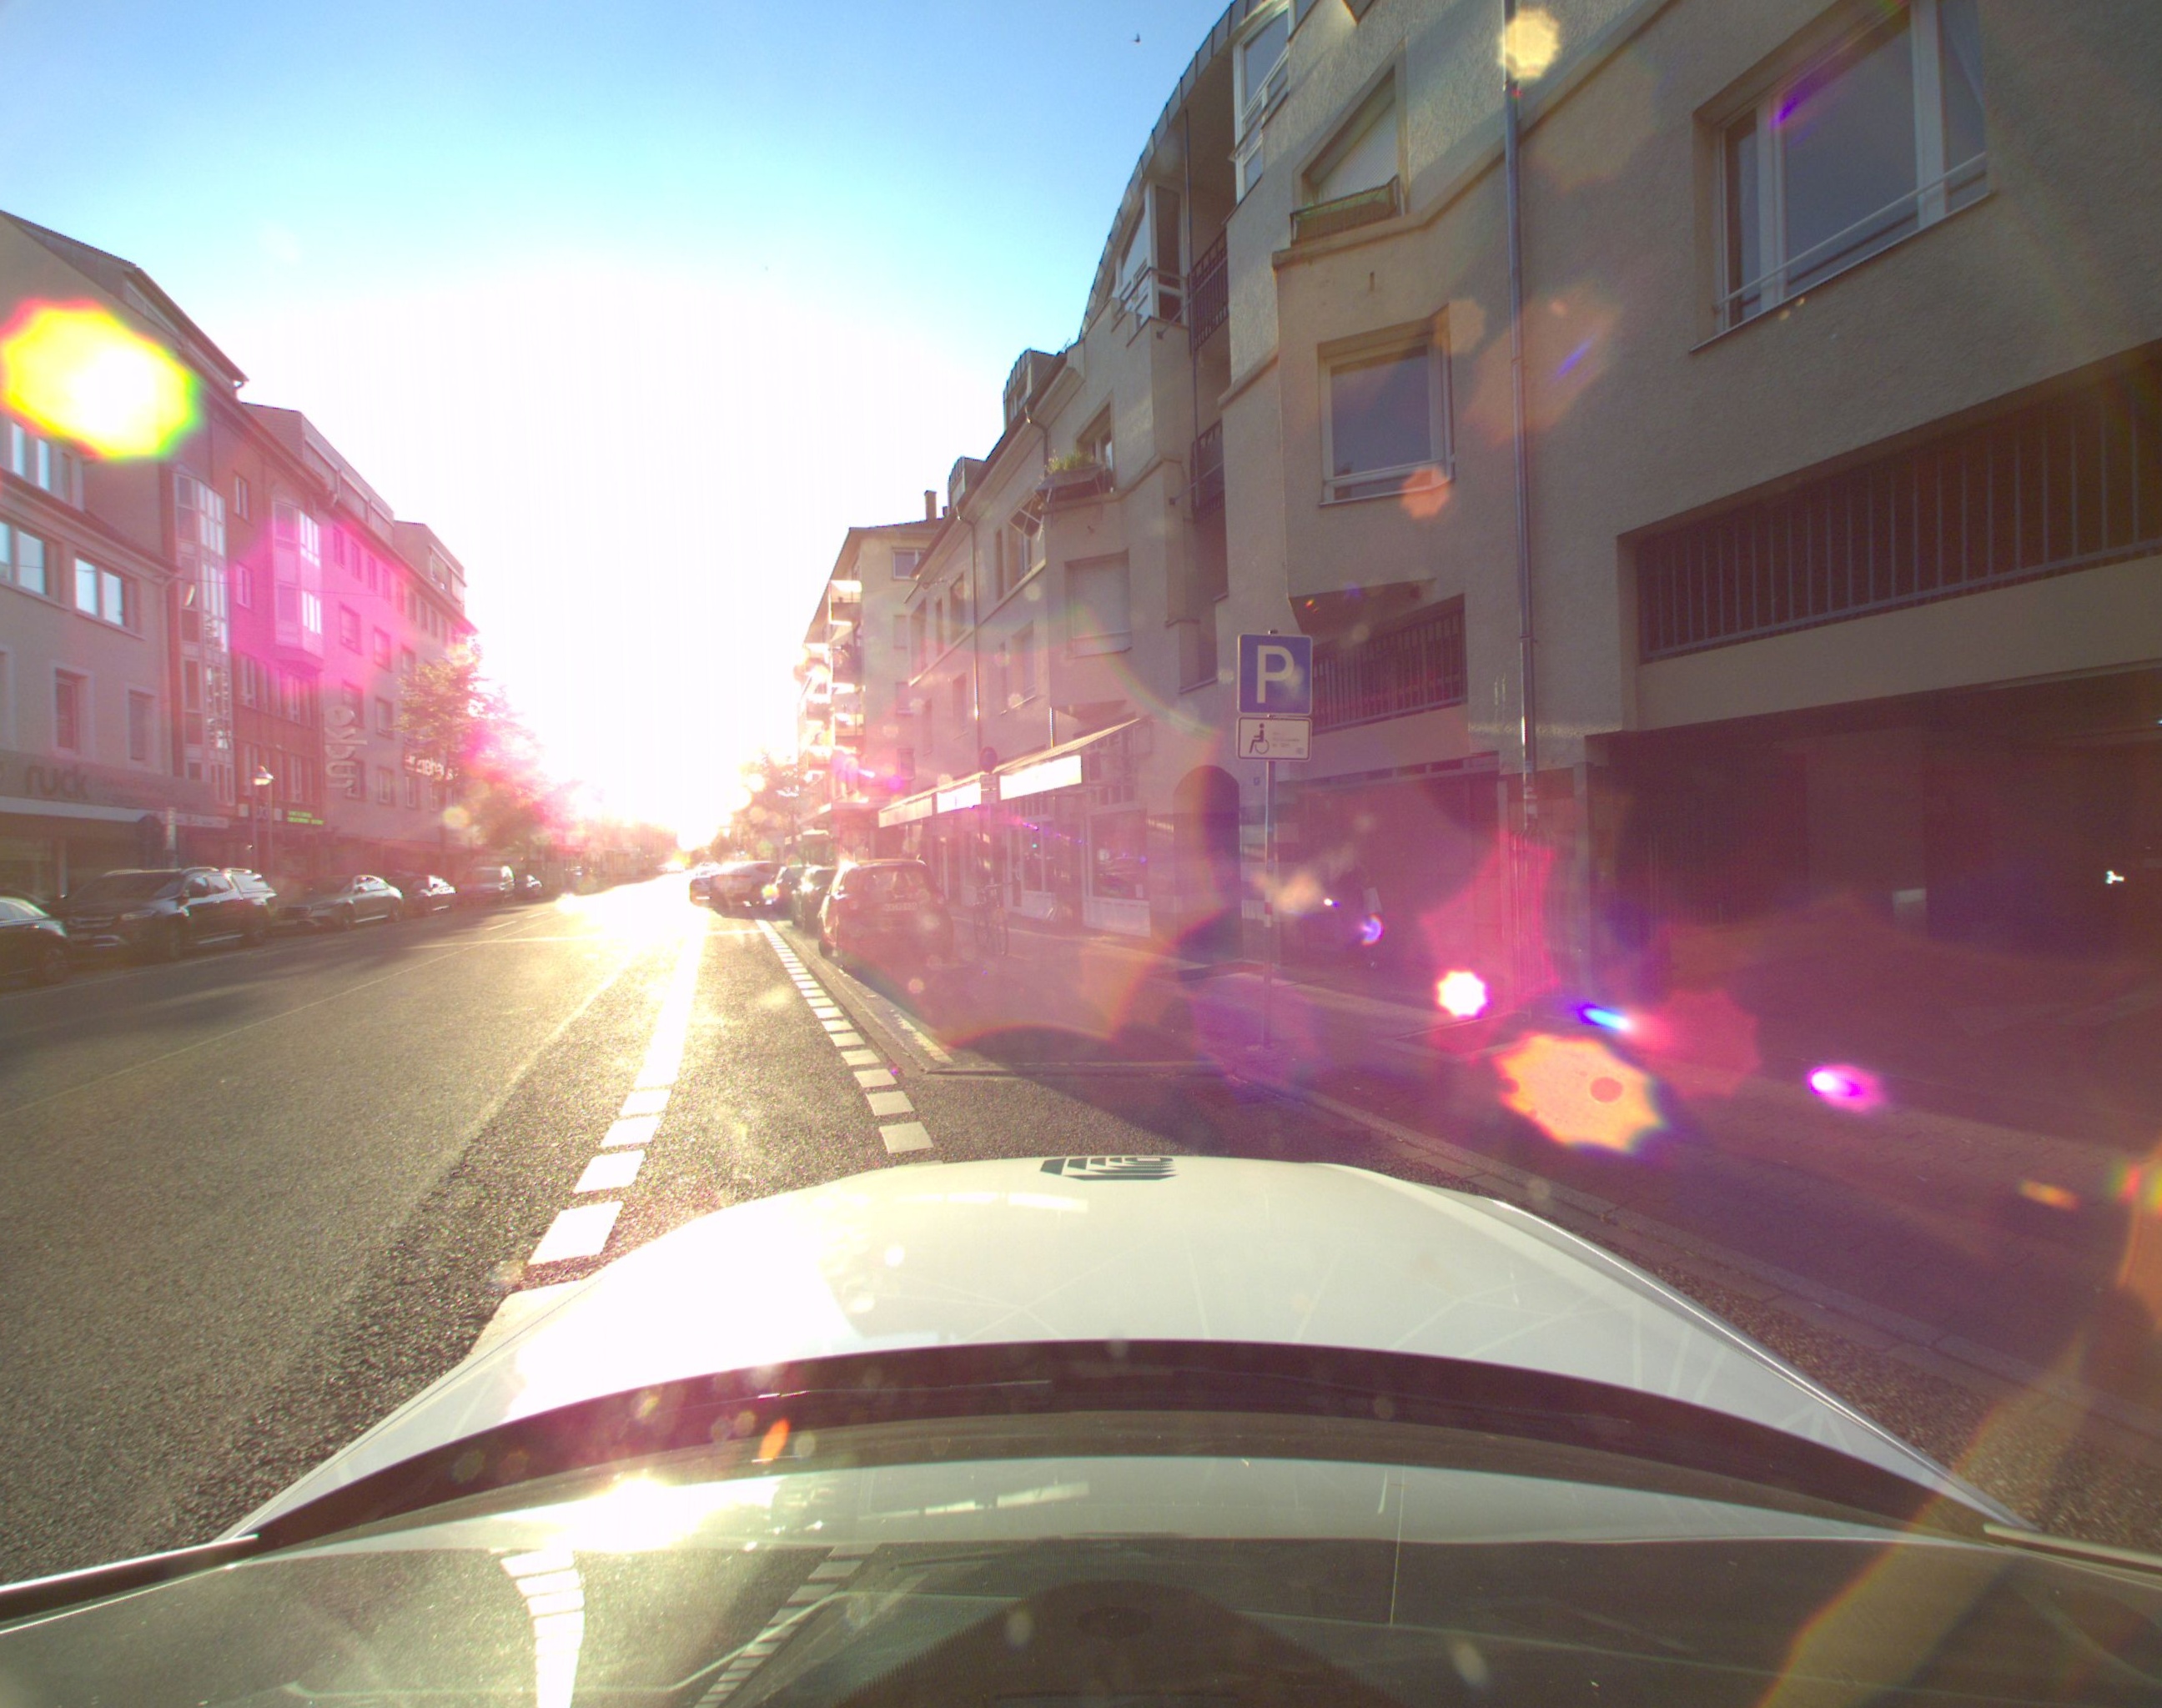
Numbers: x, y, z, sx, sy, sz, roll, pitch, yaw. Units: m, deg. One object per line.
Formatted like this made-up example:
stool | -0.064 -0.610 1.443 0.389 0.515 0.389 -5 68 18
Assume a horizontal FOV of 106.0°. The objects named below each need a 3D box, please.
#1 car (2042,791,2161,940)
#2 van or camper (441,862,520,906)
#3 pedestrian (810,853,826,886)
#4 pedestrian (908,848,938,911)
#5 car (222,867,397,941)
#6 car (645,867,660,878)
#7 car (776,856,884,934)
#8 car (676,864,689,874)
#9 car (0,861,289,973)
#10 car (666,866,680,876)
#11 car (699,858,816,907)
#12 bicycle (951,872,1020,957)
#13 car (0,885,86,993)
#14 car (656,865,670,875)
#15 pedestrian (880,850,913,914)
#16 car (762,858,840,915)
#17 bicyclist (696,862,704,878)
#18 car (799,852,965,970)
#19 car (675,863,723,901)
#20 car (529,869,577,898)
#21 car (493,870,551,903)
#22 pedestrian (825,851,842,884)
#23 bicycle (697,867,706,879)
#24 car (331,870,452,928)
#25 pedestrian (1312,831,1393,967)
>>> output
car | 13.400 0.022 9.132 4.247 1.573 1.809 -3 0 -17
van or camper | -27.012 1.306 36.802 1.796 1.773 4.523 -2 0 -23
pedestrian | -14.816 0.848 45.813 0.721 1.791 0.661 -3 0 -24
pedestrian | -4.437 0.701 22.858 0.562 1.700 0.825 -2 0 -25
car | -20.995 1.272 22.447 2.003 1.655 4.591 -3 1 -24
car | -66.766 2.843 126.924 1.697 1.502 3.758 -2 0 -23
car | -6.006 0.875 19.204 1.799 1.580 3.754 -2 0 -27
car | -66.412 2.516 135.593 1.697 1.502 3.758 -2 0 -23
car | -18.519 1.091 16.464 2.004 1.777 5.272 -3 1 -27
car | -64.106 2.713 128.012 1.697 1.502 3.758 -2 0 -23
car | -11.959 1.004 30.434 1.859 1.697 4.338 0 0 14
bicycle | -1.560 0.917 13.001 0.560 1.206 1.963 -2 0 -22
car | -15.959 1.287 10.792 1.694 1.488 4.374 -5 2 -25
car | -69.404 2.644 135.283 1.697 1.502 3.758 -2 0 -23
pedestrian | -5.147 0.766 22.746 0.633 1.700 1.031 -2 0 -25
car | -8.827 0.937 25.496 1.799 1.580 3.754 -2 0 -27
bicyclist | -38.807 1.598 82.941 0.549 1.580 0.797 -2 0 -22
car | -3.420 0.799 13.445 1.799 1.580 3.932 -2 0 -27
car | -16.201 1.140 34.703 1.697 1.503 3.758 0 0 -23
car | -30.539 1.659 47.203 1.697 1.502 3.758 -2 0 -23
car | -29.006 1.658 42.366 1.697 1.502 3.758 -2 0 -23
pedestrian | -13.521 0.731 44.443 0.721 1.791 0.661 -3 0 -24
bicycle | -38.678 1.924 83.076 0.666 1.243 2.114 0 -1 -21
car | -23.299 1.452 27.745 2.004 1.655 4.442 -2 0 -25
pedestrian | 3.265 0.528 9.844 0.773 1.572 0.534 -2 0 2
